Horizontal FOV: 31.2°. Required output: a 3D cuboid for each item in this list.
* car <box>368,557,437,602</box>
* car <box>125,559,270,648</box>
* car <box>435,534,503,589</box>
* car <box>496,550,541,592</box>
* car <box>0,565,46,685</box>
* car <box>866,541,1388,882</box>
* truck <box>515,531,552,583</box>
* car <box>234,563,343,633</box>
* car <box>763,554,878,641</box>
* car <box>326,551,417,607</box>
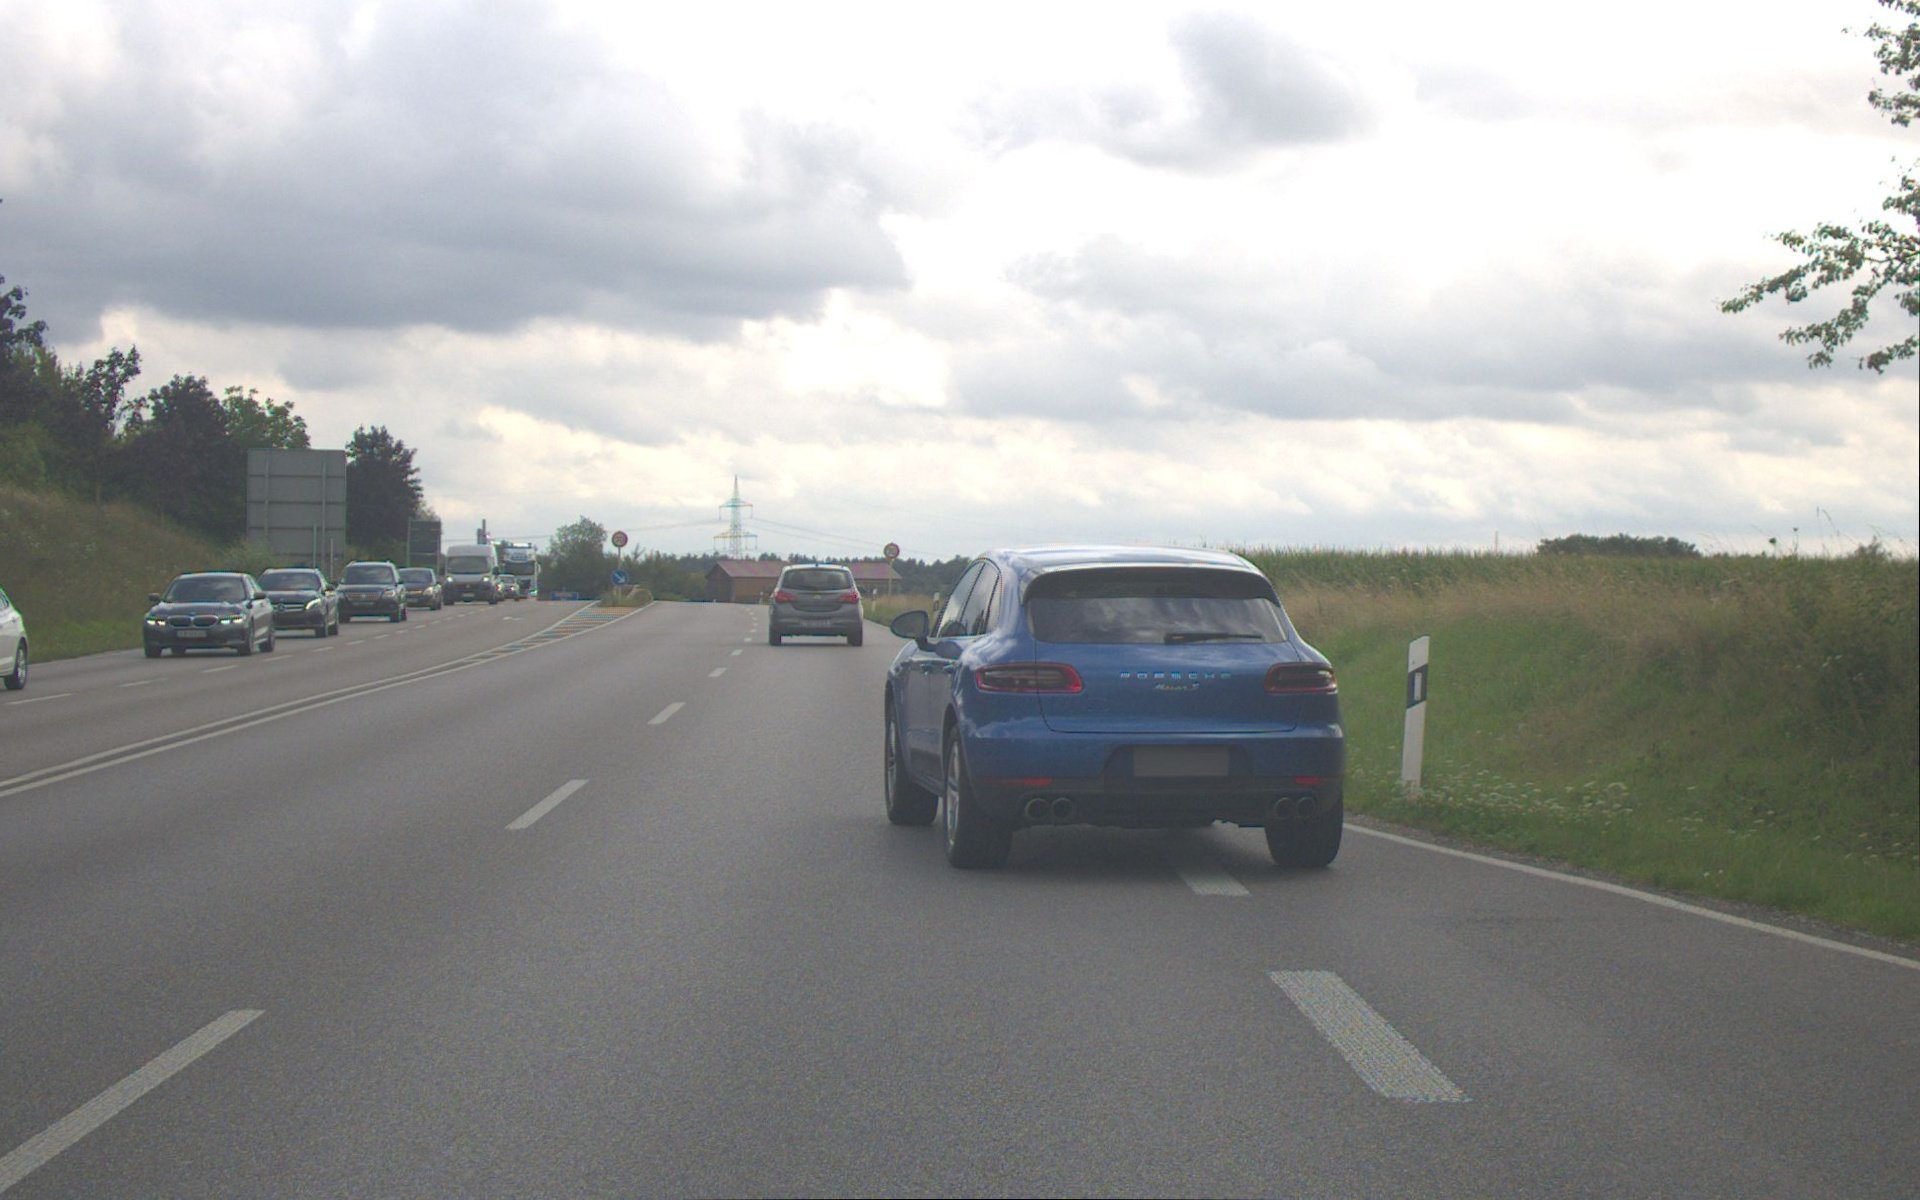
[{"bbox_3d":[-18.953,-0.707,117.041,1.993,1.486,4.001,-1,1,-5],"label":"car"},{"bbox_3d":[-13.347,0.030,60.371,1.993,1.503,4.001,0,1,-6],"label":"car"},{"bbox_3d":[-20.144,-1.587,141.226,2.363,2.204,5.923,-1,1,-4],"label":"car"},{"bbox_3d":[-23.791,-1.562,185.178,2.363,2.204,5.309,-1,1,-7],"label":"car"},{"bbox_3d":[-12.451,0.305,41.807,1.668,1.437,4.147,0,1,-1],"label":"car"},{"bbox_3d":[0.725,0.486,18.415,1.993,1.565,4.757,-1,1,-7],"label":"car"},{"bbox_3d":[-31.093,-3.172,250.332,2.567,3.623,14.664,-1,1,-7],"label":"truck"},{"bbox_3d":[-14.893,-0.074,76.396,1.796,1.481,4.169,-1,1,-3],"label":"car"},{"bbox_3d":[-2.612,-0.074,63.657,1.993,1.530,4.001,0,1,-4],"label":"car"},{"bbox_3d":[-16.195,-0.601,94.766,1.993,1.503,4.001,0,1,-3],"label":"car"}]
